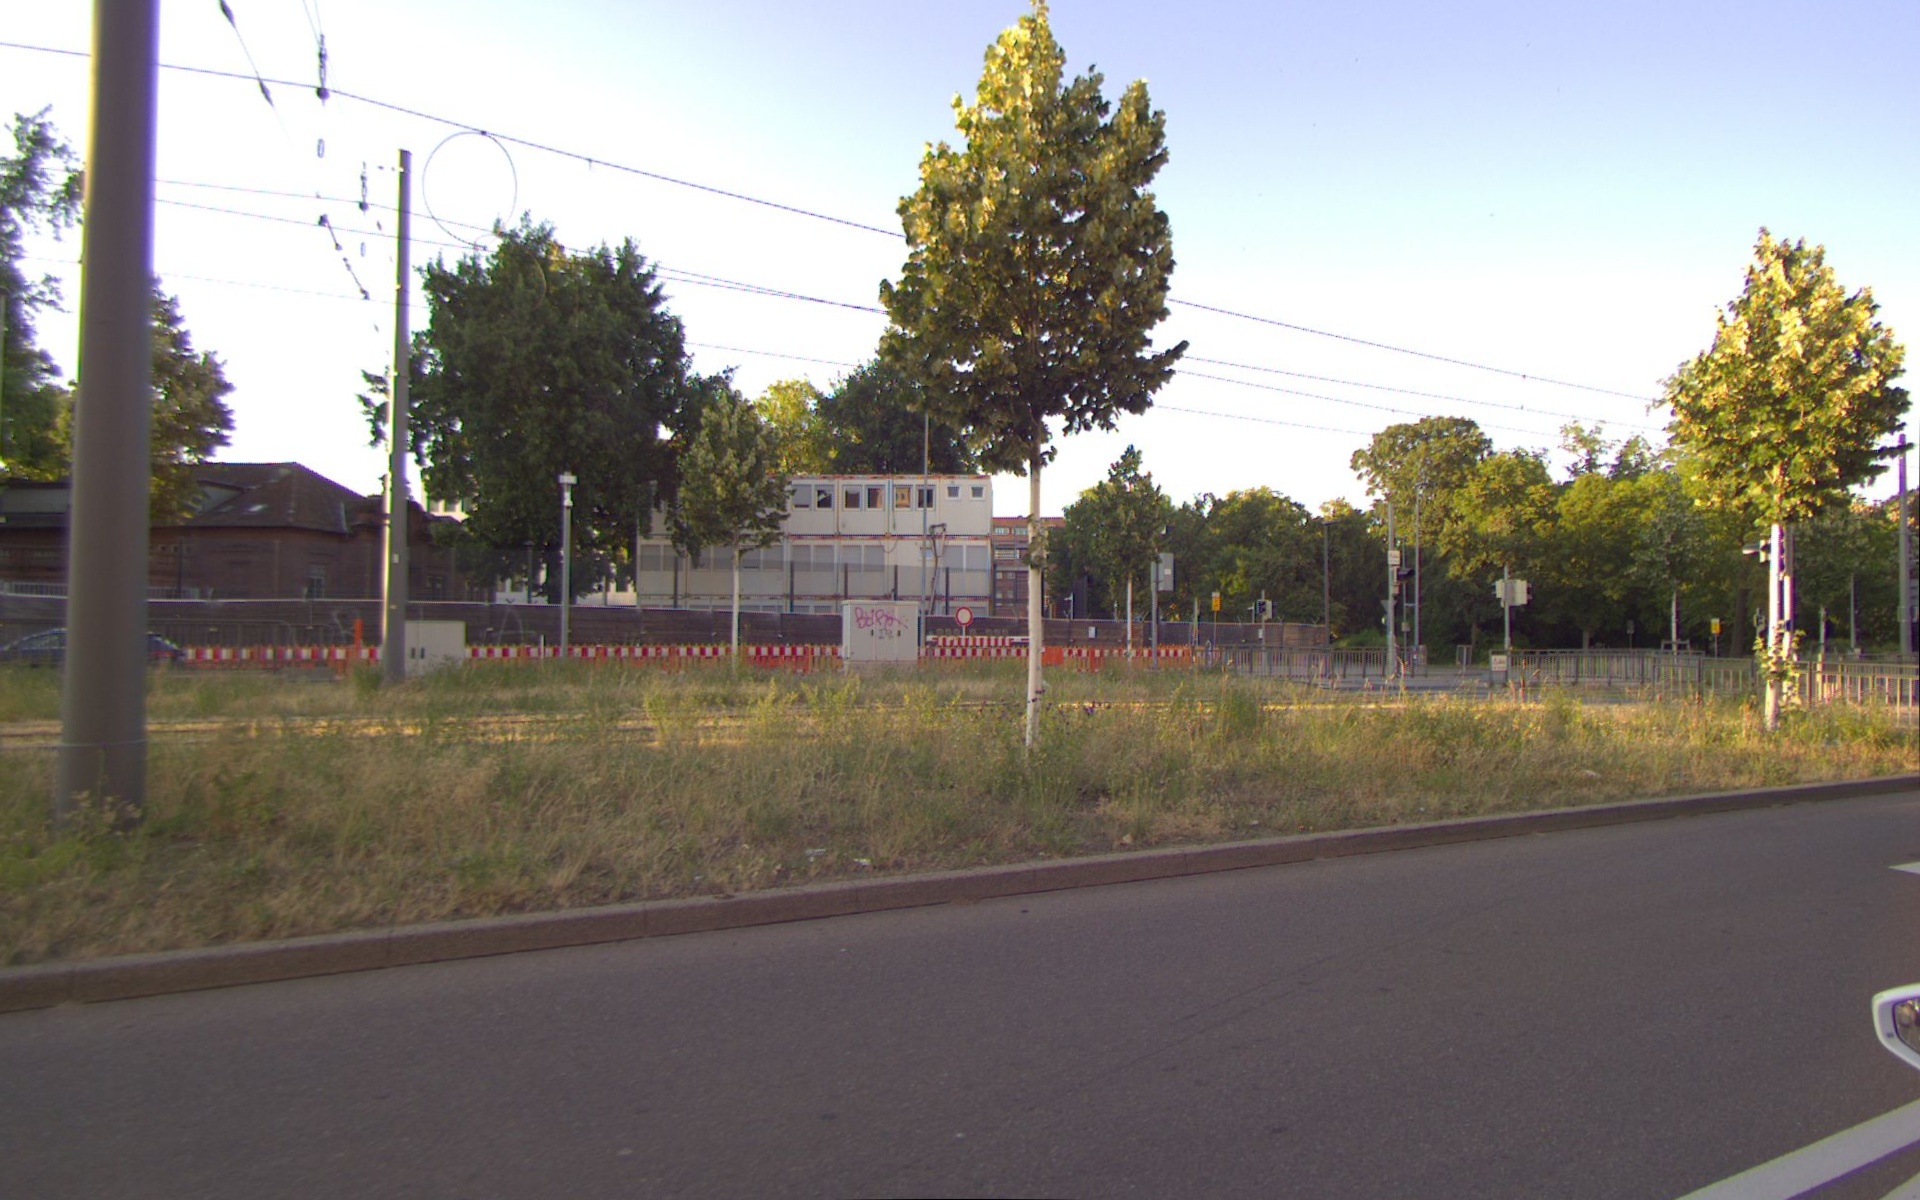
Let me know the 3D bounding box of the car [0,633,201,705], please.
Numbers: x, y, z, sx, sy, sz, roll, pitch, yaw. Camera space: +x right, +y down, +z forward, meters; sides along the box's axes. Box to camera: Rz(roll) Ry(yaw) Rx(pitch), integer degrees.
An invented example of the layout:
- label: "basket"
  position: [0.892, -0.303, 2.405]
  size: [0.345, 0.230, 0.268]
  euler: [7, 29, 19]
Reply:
- label: "car"
  position: [-20.571, 1.557, 23.248]
  size: [4.461, 1.501, 1.926]
  euler: [0, 0, -25]
